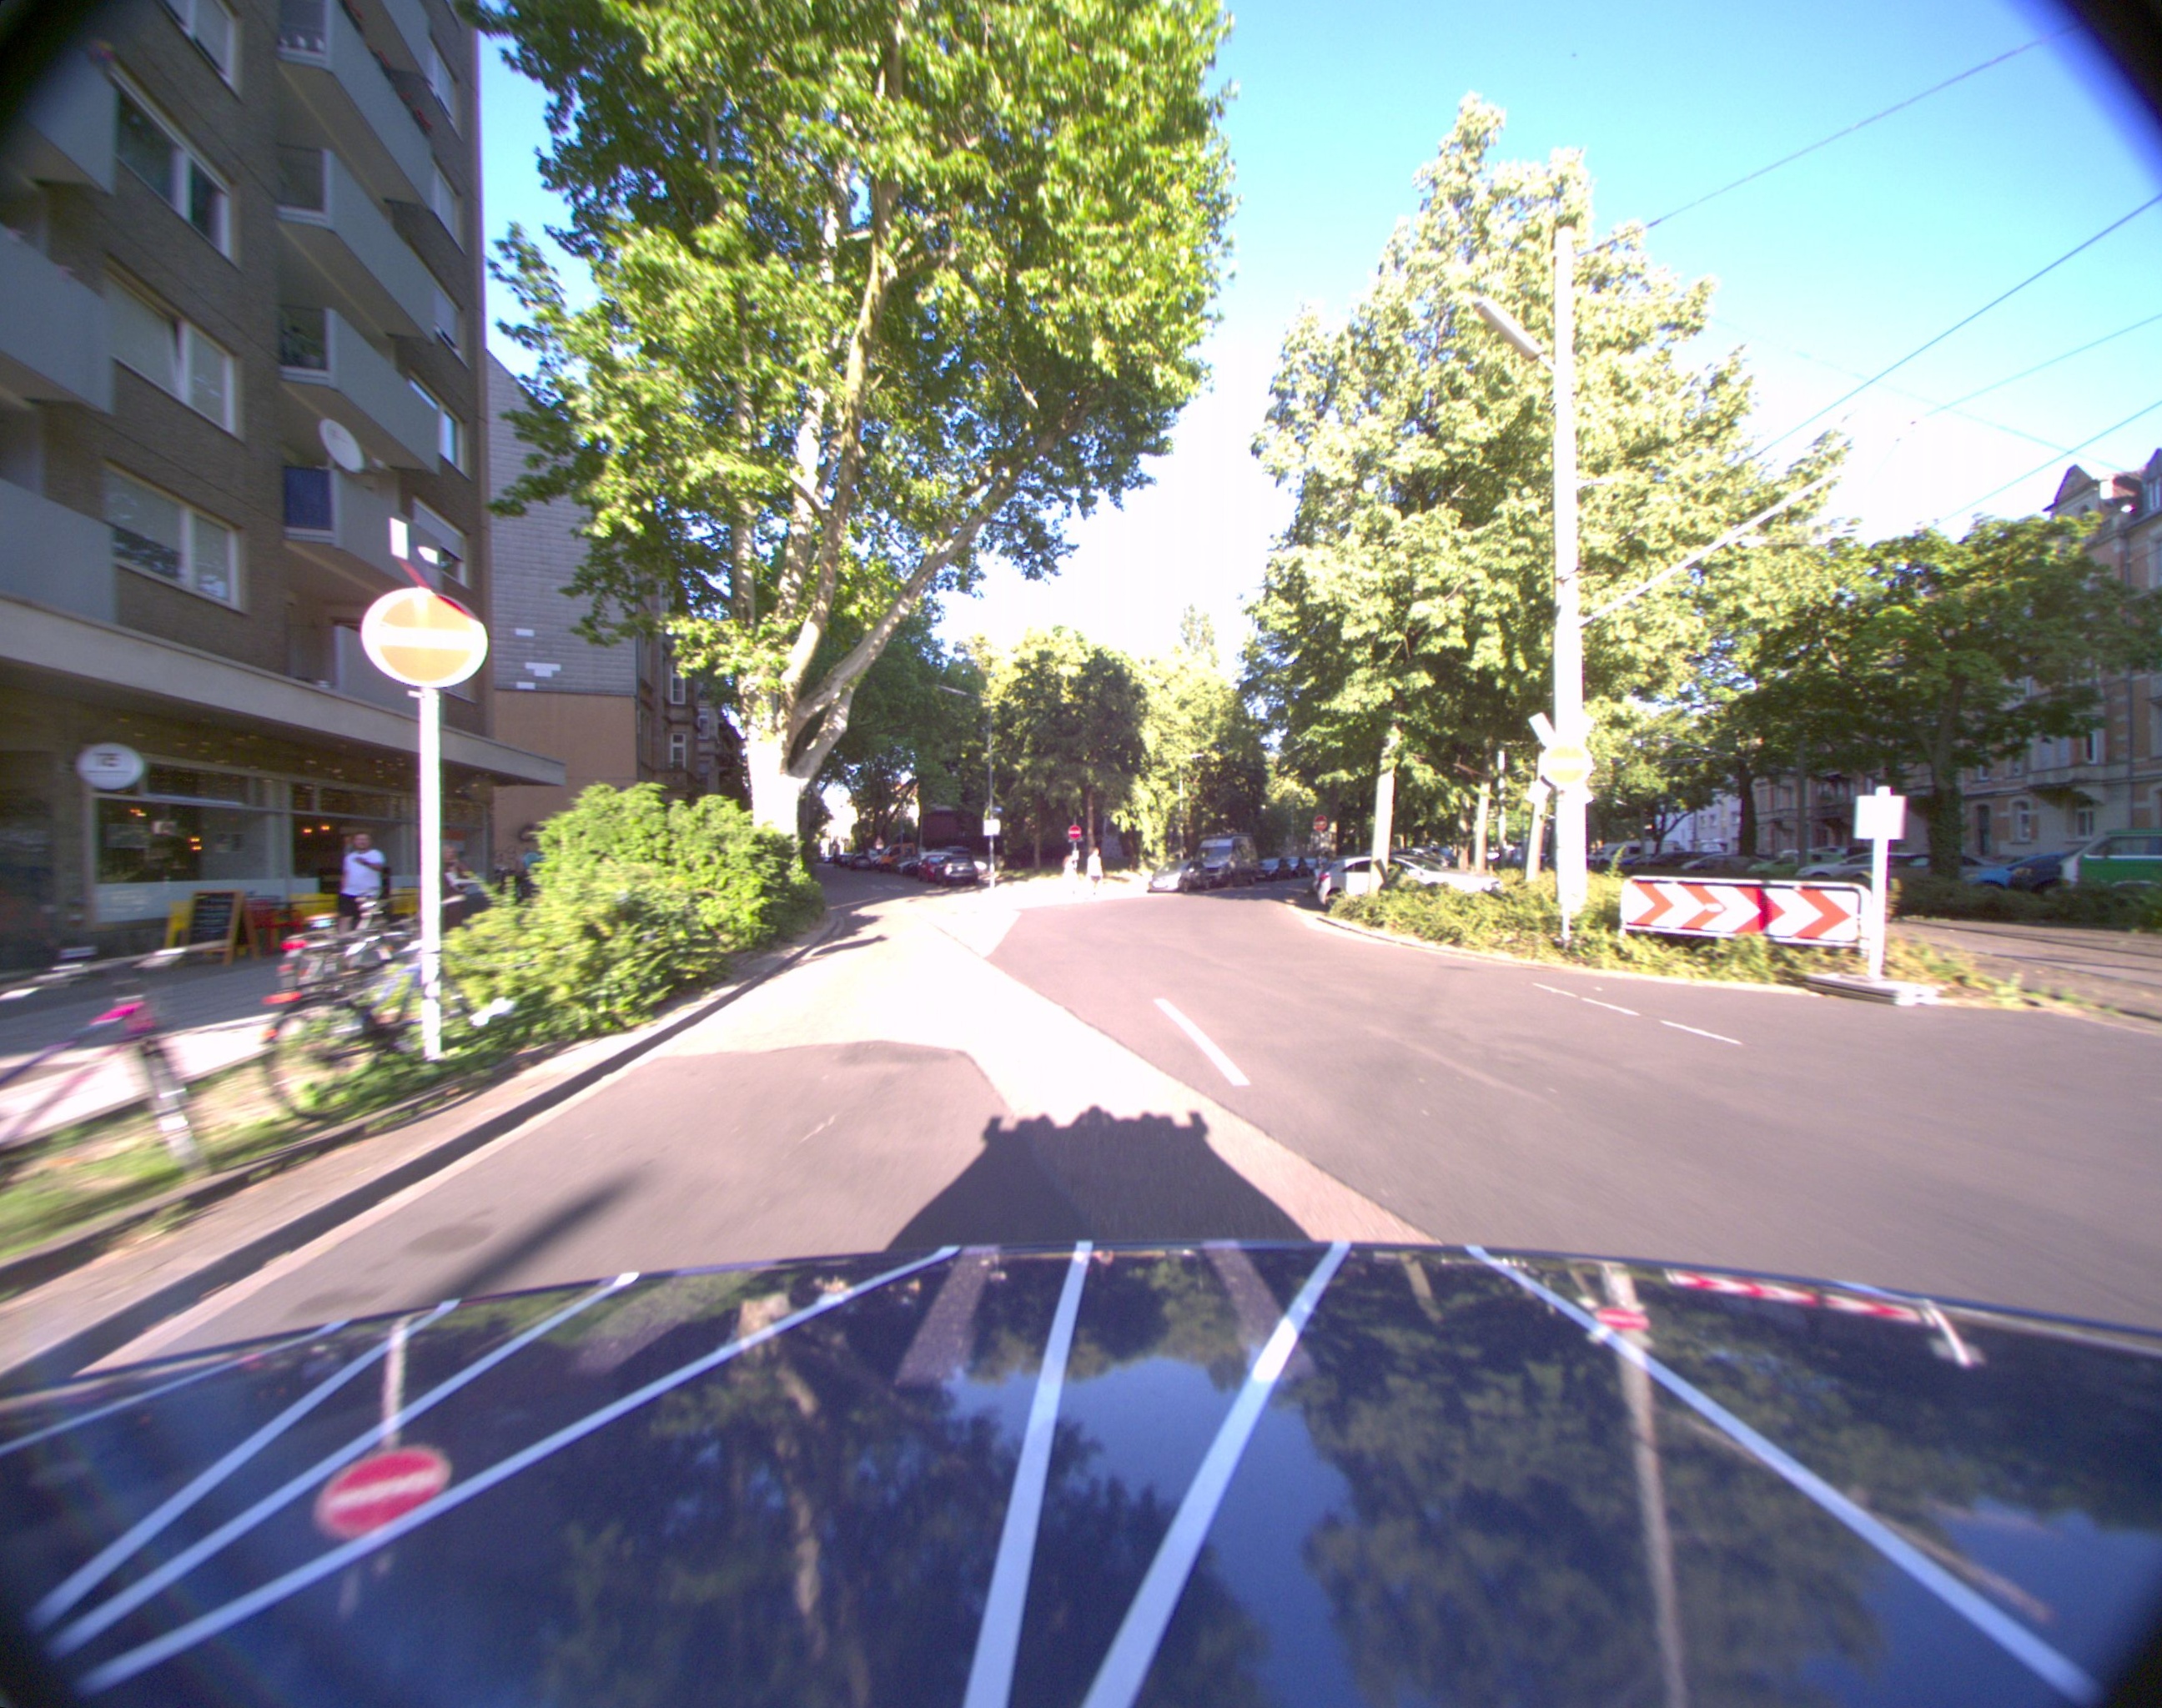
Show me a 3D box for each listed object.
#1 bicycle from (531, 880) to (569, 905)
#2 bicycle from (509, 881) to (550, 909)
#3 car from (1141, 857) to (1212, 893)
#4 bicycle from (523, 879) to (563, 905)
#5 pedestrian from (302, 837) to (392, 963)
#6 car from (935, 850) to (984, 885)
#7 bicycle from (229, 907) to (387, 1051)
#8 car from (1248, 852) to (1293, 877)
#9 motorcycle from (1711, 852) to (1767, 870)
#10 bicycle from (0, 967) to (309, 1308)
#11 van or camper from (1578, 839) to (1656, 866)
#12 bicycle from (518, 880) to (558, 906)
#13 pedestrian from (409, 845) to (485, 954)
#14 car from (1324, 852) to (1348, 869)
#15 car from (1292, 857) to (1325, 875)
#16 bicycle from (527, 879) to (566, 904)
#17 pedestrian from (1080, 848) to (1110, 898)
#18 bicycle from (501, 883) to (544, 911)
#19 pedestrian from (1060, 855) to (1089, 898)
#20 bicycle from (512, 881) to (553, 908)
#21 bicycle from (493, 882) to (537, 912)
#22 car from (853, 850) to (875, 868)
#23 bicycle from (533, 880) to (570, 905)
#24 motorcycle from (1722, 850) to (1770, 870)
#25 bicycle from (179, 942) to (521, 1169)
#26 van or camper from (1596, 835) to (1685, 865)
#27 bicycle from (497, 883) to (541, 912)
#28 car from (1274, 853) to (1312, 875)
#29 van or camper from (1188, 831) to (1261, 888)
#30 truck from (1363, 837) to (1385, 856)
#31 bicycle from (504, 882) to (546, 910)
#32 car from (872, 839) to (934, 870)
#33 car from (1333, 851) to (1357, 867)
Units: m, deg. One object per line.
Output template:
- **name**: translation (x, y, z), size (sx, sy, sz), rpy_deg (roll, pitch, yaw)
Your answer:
- **bicycle**: translation (-16.128, 1.172, 23.085), size (0.896, 0.737, 0.272), rpy_deg (-1, 1, -23)
- **bicycle**: translation (-15.490, 1.155, 21.347), size (0.896, 0.737, 0.272), rpy_deg (-1, 1, -23)
- **car**: translation (4.335, 0.905, 34.031), size (1.681, 1.437, 3.879), rpy_deg (-3, -1, 31)
- **bicycle**: translation (-15.878, 1.124, 22.429), size (0.896, 0.737, 0.272), rpy_deg (-1, 1, -23)
- **pedestrian**: translation (-10.598, 0.641, 10.995), size (0.686, 1.763, 0.635), rpy_deg (0, 1, -11)
- **car**: translation (-6.074, 0.631, 37.645), size (1.743, 1.543, 4.269), rpy_deg (-4, 1, -17)
- **bicycle**: translation (-6.435, 0.996, 6.378), size (0.349, 1.032, 1.052), rpy_deg (0, 0, -7)
- **car**: translation (11.904, 0.627, 47.466), size (1.681, 1.517, 4.498), rpy_deg (0, 0, 28)
- **motorcycle**: translation (34.303, 0.345, 39.658), size (1.022, 0.884, 1.973), rpy_deg (0, 0, -26)
- **bicycle**: translation (-4.033, 1.044, 2.504), size (0.639, 1.016, 2.090), rpy_deg (0, 0, 10)
- **van or camper**: translation (50.396, -0.195, 71.534), size (2.004, 2.454, 5.661), rpy_deg (0, 1, -39)
- **bicycle**: translation (-15.772, 1.127, 22.095), size (0.896, 0.737, 0.272), rpy_deg (-1, 1, -23)
- **pedestrian**: translation (-10.042, 0.701, 12.057), size (0.686, 1.682, 0.644), rpy_deg (0, 1, -11)
- **car**: translation (22.785, 0.564, 67.841), size (1.682, 1.445, 4.083), rpy_deg (0, 0, 23)
- **car**: translation (17.297, 0.908, 57.619), size (1.681, 1.275, 4.295), rpy_deg (0, 0, 26)
- **bicycle**: translation (-16.009, 1.120, 22.772), size (0.896, 0.737, 0.272), rpy_deg (-1, 1, -23)
- **pedestrian**: translation (0.508, 0.670, 27.258), size (0.812, 1.771, 0.718), rpy_deg (0, 1, 32)
- **bicycle**: translation (-15.210, 1.162, 20.700), size (0.896, 0.737, 0.272), rpy_deg (-1, 1, -23)
- **pedestrian**: translation (-0.246, 0.867, 29.196), size (0.812, 1.598, 0.718), rpy_deg (0, -2, 32)
- **bicycle**: translation (-15.618, 1.152, 21.659), size (0.896, 0.737, 0.272), rpy_deg (-1, 1, -23)
- **bicycle**: translation (-14.949, 1.137, 20.082), size (0.896, 0.737, 0.272), rpy_deg (-1, 1, -23)
- **car**: translation (-19.605, 0.449, 68.531), size (1.609, 1.459, 3.992), rpy_deg (1, 1, -20)
- **bicycle**: translation (-16.293, 1.170, 23.379), size (0.896, 0.737, 0.272), rpy_deg (-1, 1, -23)
- **motorcycle**: translation (33.554, 0.301, 38.372), size (1.022, 0.949, 1.722), rpy_deg (0, 0, -43)
- **bicycle**: translation (-4.217, 1.086, 4.593), size (0.544, 0.899, 1.734), rpy_deg (0, 0, -7)
- **van or camper**: translation (46.712, -0.367, 63.577), size (2.312, 2.357, 5.536), rpy_deg (0, 1, -36)
- **bicycle**: translation (-15.090, 1.165, 20.403), size (0.896, 0.737, 0.272), rpy_deg (-1, 1, -23)
- **car**: translation (14.865, 0.670, 53.095), size (1.681, 1.517, 4.295), rpy_deg (0, 0, 28)
- **van or camper**: translation (7.581, 0.252, 39.673), size (2.085, 2.746, 5.856), rpy_deg (0, 0, 28)
- **truck**: translation (38.726, -0.921, 100.358), size (2.297, 2.372, 6.946), rpy_deg (0, 0, 25)
- **bicycle**: translation (-15.366, 1.158, 21.014), size (0.896, 0.737, 0.272), rpy_deg (-1, 1, -23)
- **car**: translation (-14.396, 0.021, 61.356), size (4.646, 2.399, 1.604), rpy_deg (0, 1, -23)
- **car**: translation (25.155, 0.482, 72.299), size (1.681, 1.445, 4.083), rpy_deg (0, 0, 27)
